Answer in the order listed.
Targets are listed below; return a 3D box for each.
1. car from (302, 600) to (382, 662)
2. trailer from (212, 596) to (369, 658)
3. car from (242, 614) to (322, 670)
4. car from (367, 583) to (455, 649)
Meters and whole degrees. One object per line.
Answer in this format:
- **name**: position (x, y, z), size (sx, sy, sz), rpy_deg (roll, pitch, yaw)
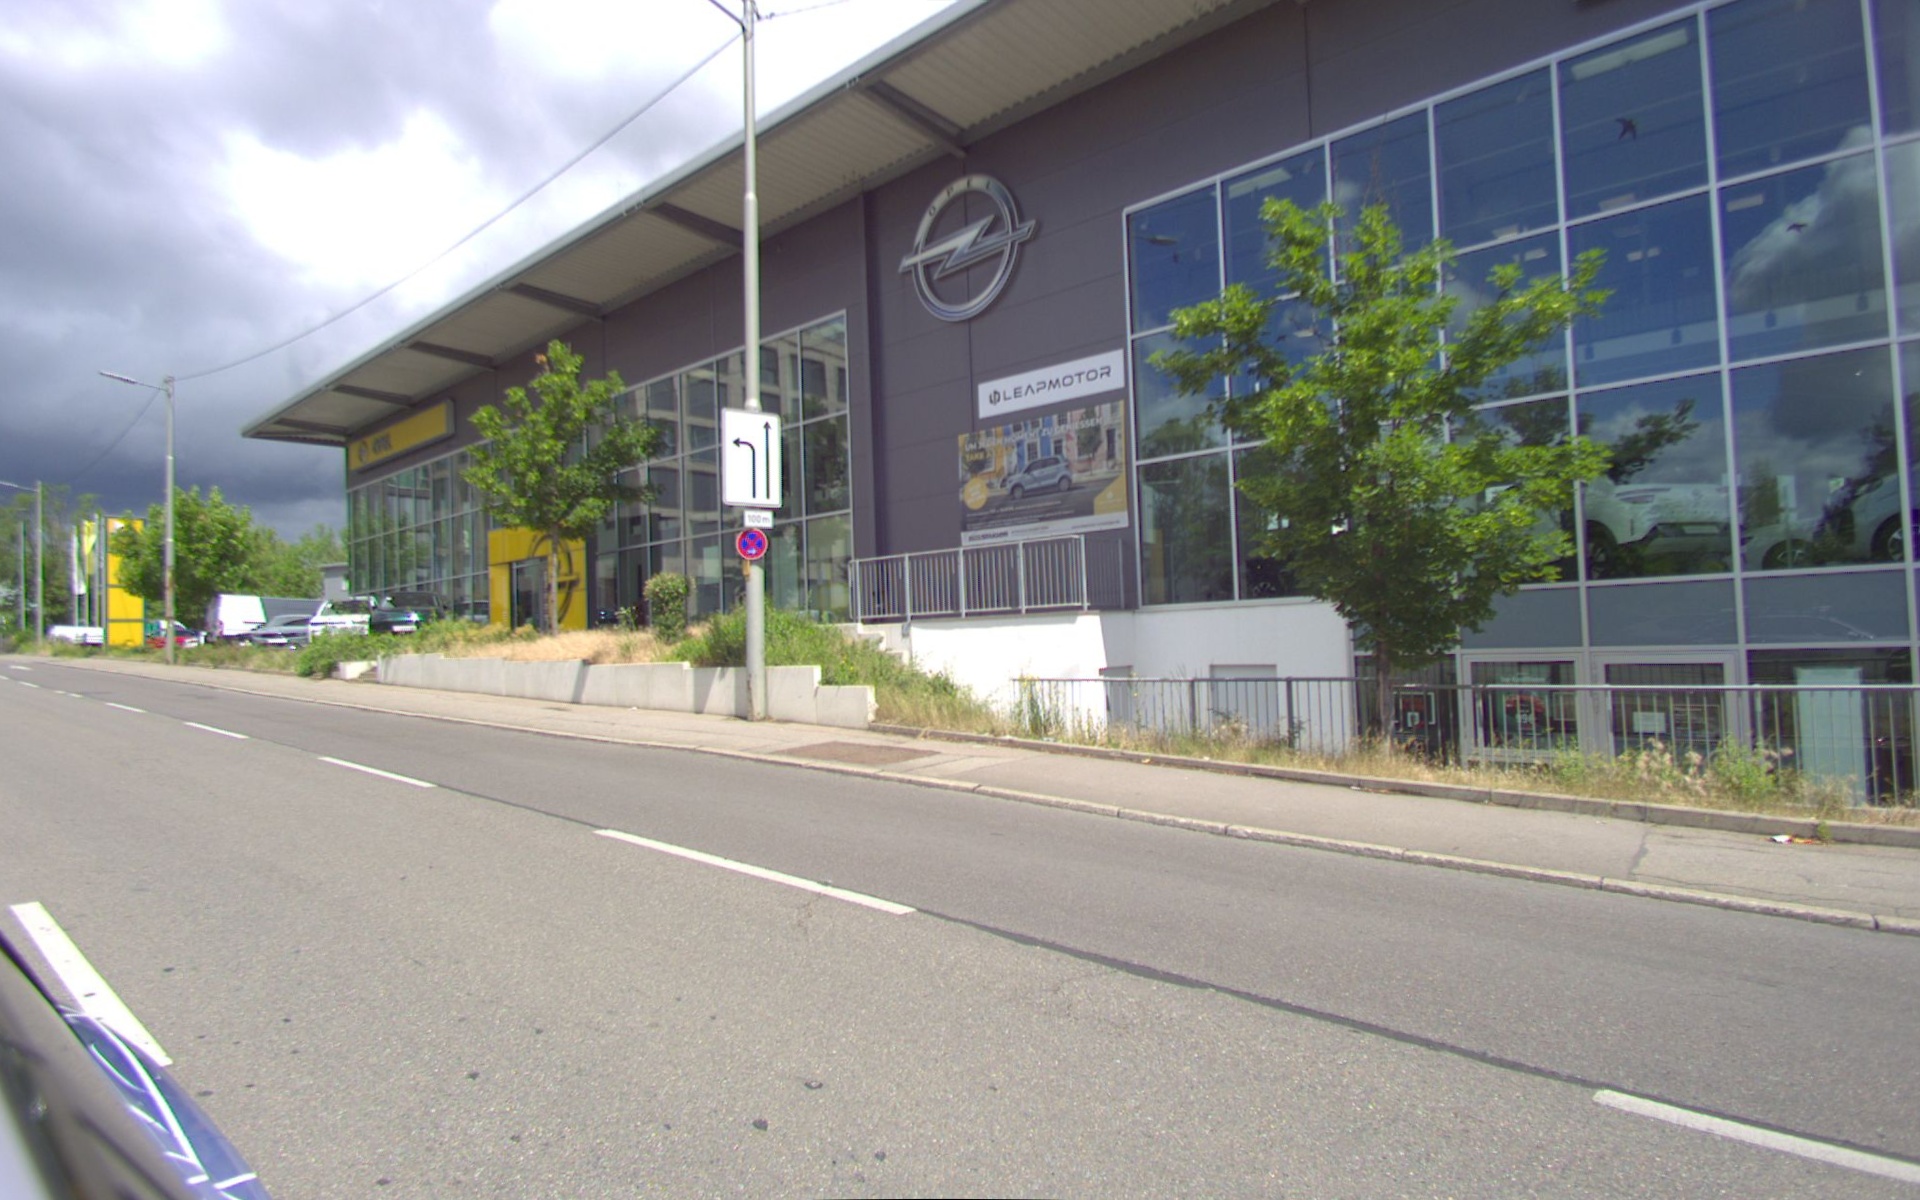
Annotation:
- **car**: position (-19.207, 0.950, 31.594), size (1.966, 1.807, 4.012), rpy_deg (1, -2, -29)
- **trailer**: position (-27.418, 1.089, 41.610), size (1.998, 2.367, 5.011), rpy_deg (-1, -2, 39)
- **car**: position (-23.472, 1.409, 35.157), size (1.966, 1.807, 4.012), rpy_deg (1, -1, -29)
- **car**: position (-15.681, 0.473, 28.806), size (1.966, 1.741, 4.011), rpy_deg (1, -2, -31)
